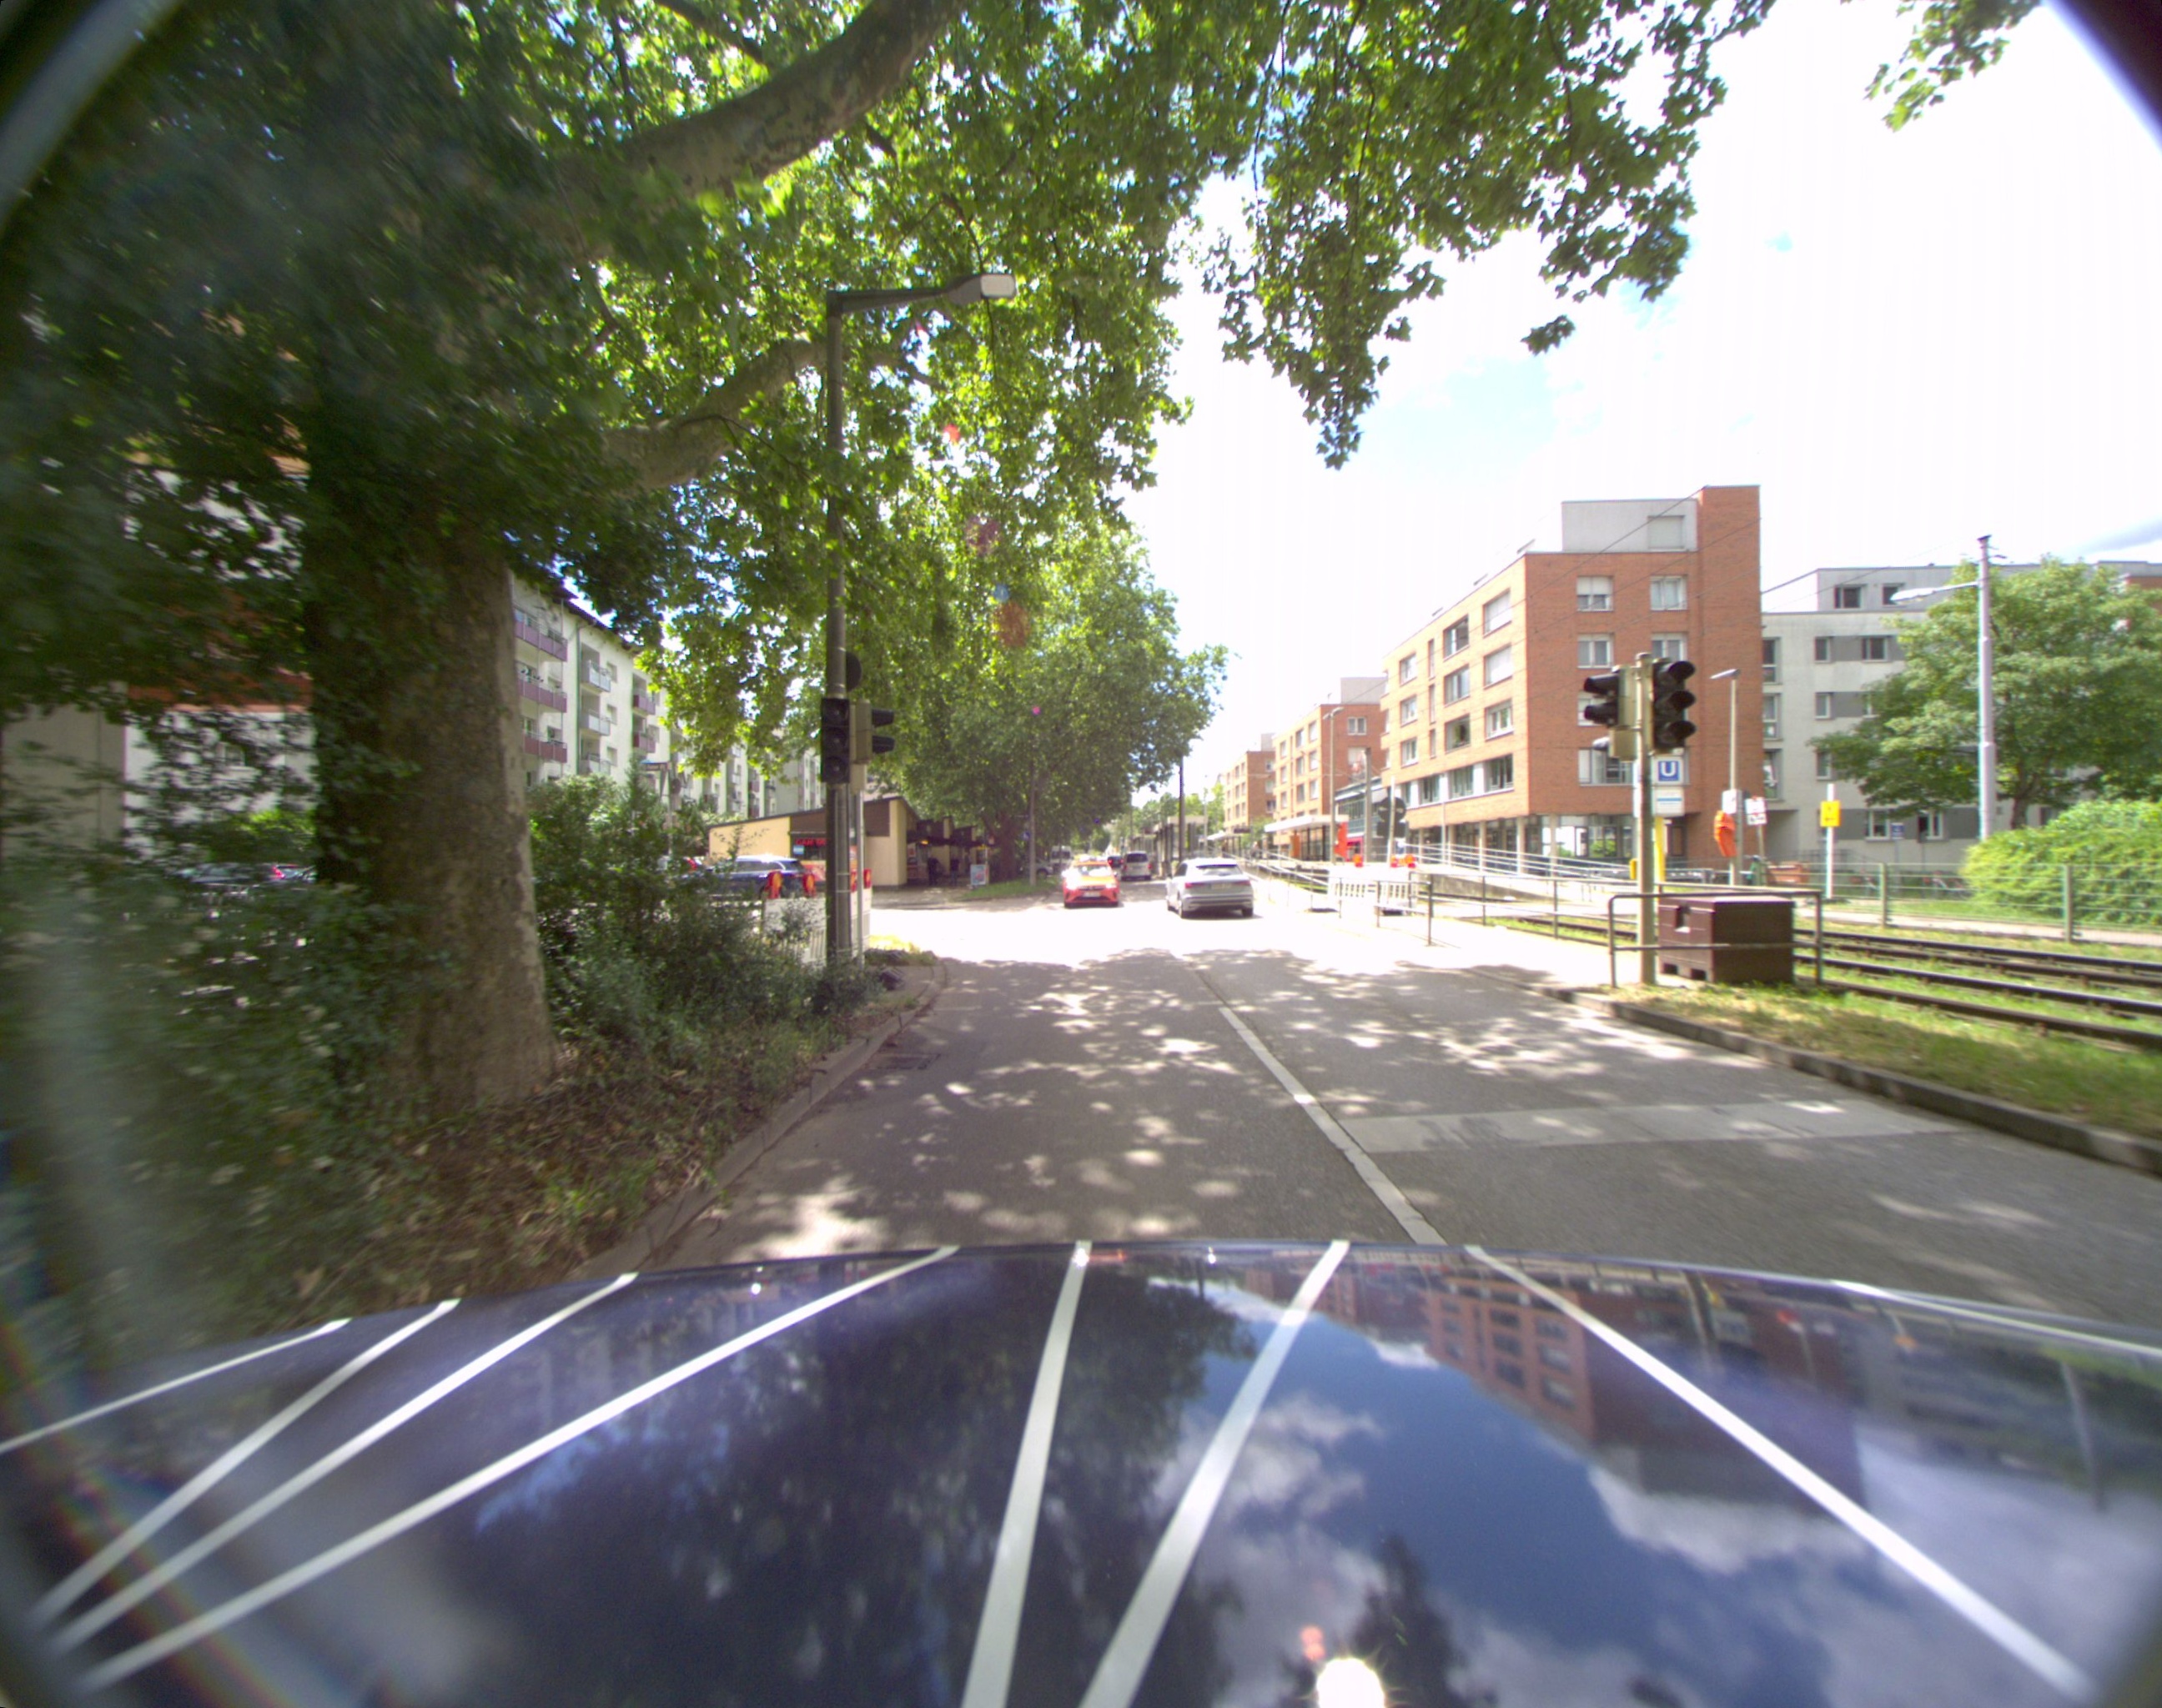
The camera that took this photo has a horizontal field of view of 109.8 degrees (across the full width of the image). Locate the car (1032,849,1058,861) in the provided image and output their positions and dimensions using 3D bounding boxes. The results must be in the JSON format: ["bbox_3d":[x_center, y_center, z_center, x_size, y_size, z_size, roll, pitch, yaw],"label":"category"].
[{"bbox_3d":[-4.974,0.163,104.339,3.416,1.506,1.609,2,0,-3],"label":"car"}]

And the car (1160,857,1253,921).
[{"bbox_3d":[3.080,0.818,19.378,1.640,1.426,3.851,-1,0,-1],"label":"car"}]

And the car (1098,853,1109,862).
[{"bbox_3d":[3.835,0.555,131.414,1.766,1.472,4.576,-2,0,0],"label":"car"}]

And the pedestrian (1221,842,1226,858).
[{"bbox_3d":[15.995,-0.443,85.290,0.535,1.753,0.528,0,1,-2],"label":"pedestrian"}]

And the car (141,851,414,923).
[{"bbox_3d":[-19.033,0.739,18.200,4.243,1.595,1.892,0,0,-7],"label":"car"}]

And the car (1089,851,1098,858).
[{"bbox_3d":[2.689,0.145,163.885,1.766,1.472,3.753,-2,0,0],"label":"car"}]

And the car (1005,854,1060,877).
[{"bbox_3d":[-3.514,0.806,54.730,3.841,1.553,1.619,1,1,-6],"label":"car"}]

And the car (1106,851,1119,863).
[{"bbox_3d":[4.338,0.377,105.761,1.700,1.555,3.860,-1,1,0],"label":"car"}]

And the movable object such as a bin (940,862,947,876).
[{"bbox_3d":[-9.190,1.000,50.748,0.438,0.909,0.587,0,0,-8],"label":"movable object such as a bin"}]

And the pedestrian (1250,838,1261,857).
[{"bbox_3d":[15.387,-0.596,67.026,0.753,1.619,0.816,-2,1,1],"label":"pedestrian"}]

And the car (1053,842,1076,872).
[{"bbox_3d":[-1.461,0.270,70.036,1.909,2.566,6.833,1,0,1],"label":"car"}]

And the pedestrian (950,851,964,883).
[{"bbox_3d":[-6.572,0.669,40.291,0.625,1.666,0.772,0,1,1],"label":"pedestrian"}]

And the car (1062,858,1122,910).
[{"bbox_3d":[0.351,0.932,24.885,1.712,1.439,3.670,-4,0,1],"label":"car"}]

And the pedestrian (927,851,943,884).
[{"bbox_3d":[-7.679,0.712,39.940,0.761,1.715,0.658,1,0,-3],"label":"pedestrian"}]

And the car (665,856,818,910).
[{"bbox_3d":[-11.102,0.928,25.102,4.192,1.672,2.012,0,-1,-7],"label":"car"}]

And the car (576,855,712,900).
[{"bbox_3d":[-16.518,0.865,28.893,4.105,1.645,1.810,0,0,-7],"label":"car"}]

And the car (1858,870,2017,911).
[{"bbox_3d":[33.157,1.371,29.603,1.847,1.418,4.001,0,0,4],"label":"car"}]

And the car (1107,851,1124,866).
[{"bbox_3d":[3.994,0.466,87.838,1.758,1.624,4.118,-2,0,0],"label":"car"}]

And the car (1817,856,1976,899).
[{"bbox_3d":[31.054,0.833,29.123,1.899,1.543,4.001,0,0,3],"label":"car"}]

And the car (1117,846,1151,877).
[{"bbox_3d":[3.324,0.472,48.651,1.758,1.829,4.646,-1,0,-1],"label":"car"}]

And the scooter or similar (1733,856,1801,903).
[{"bbox_3d":[18.477,0.675,20.477,1.299,1.246,0.466,0,0,10],"label":"scooter or similar"}]

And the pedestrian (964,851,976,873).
[{"bbox_3d":[-9.215,0.617,62.987,0.607,1.791,0.923,-1,2,-45],"label":"pedestrian"}]
